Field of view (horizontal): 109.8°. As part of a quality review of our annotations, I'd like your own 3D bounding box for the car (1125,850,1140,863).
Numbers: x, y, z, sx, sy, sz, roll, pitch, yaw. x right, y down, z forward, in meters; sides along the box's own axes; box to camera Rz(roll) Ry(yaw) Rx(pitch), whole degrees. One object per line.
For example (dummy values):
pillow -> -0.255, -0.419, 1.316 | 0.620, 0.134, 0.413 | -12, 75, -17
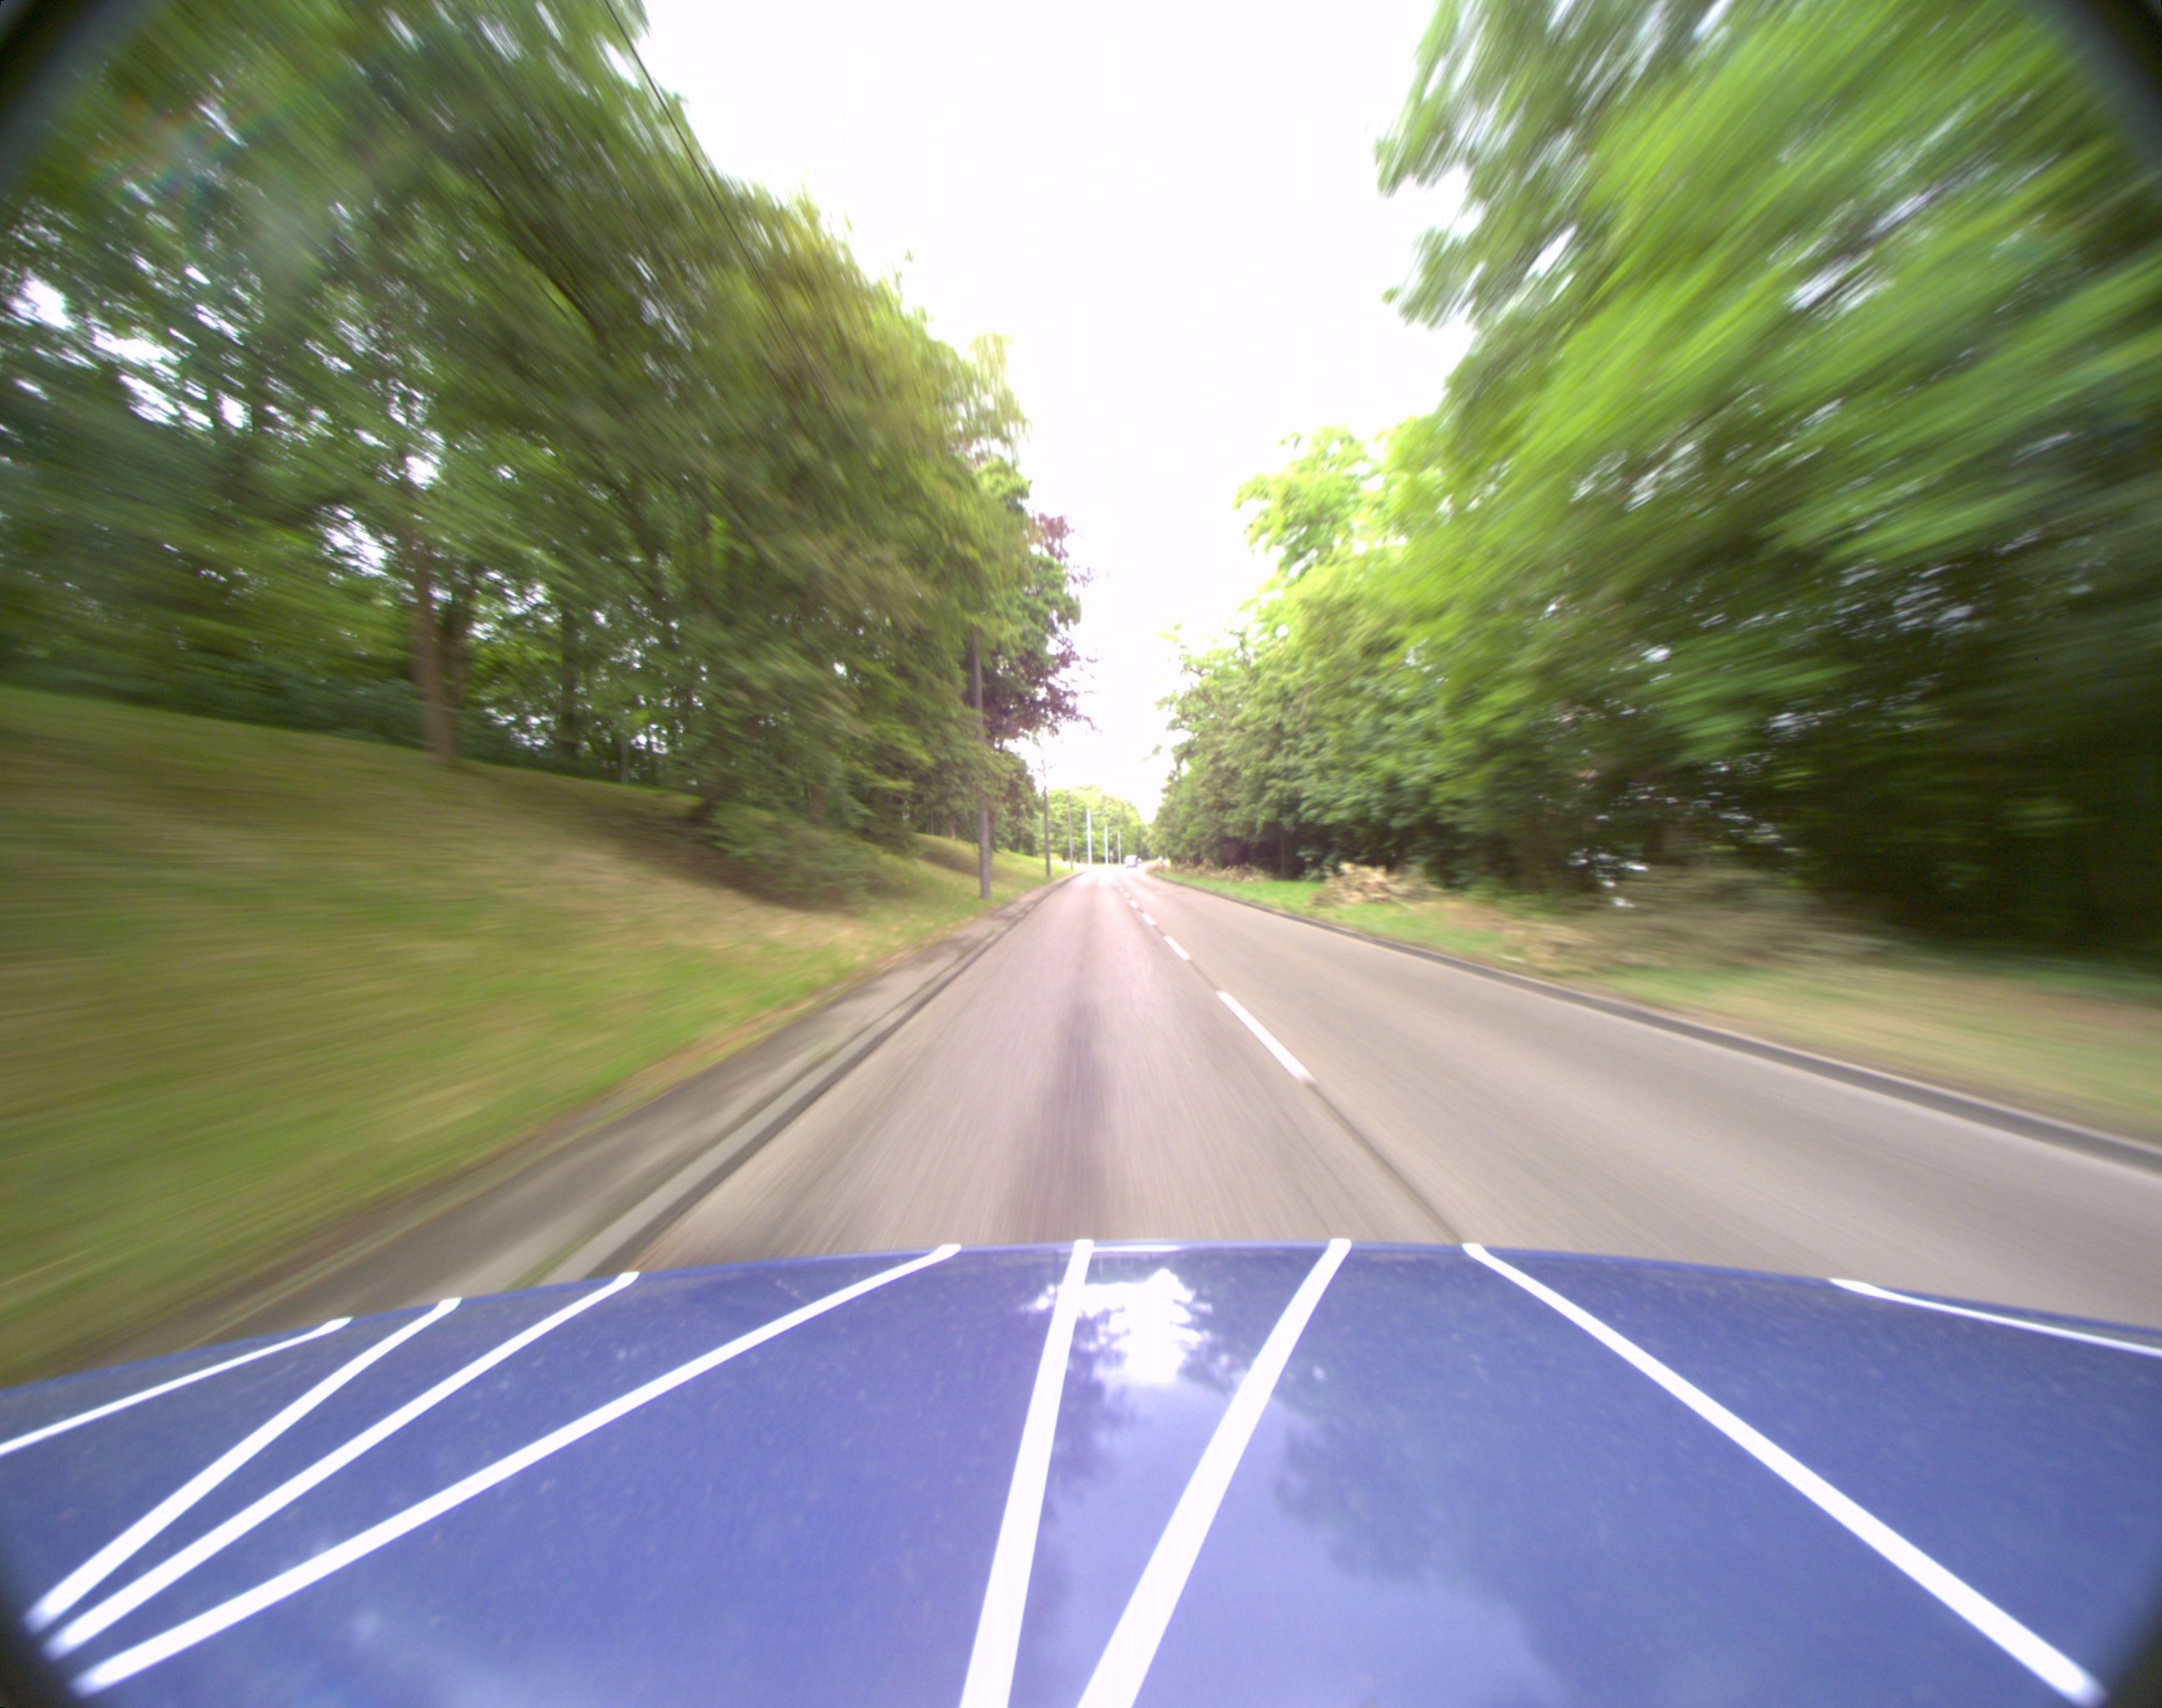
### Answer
car -> 7.820, 0.341, 115.552 | 1.998, 1.936, 4.946 | -2, 0, 3
